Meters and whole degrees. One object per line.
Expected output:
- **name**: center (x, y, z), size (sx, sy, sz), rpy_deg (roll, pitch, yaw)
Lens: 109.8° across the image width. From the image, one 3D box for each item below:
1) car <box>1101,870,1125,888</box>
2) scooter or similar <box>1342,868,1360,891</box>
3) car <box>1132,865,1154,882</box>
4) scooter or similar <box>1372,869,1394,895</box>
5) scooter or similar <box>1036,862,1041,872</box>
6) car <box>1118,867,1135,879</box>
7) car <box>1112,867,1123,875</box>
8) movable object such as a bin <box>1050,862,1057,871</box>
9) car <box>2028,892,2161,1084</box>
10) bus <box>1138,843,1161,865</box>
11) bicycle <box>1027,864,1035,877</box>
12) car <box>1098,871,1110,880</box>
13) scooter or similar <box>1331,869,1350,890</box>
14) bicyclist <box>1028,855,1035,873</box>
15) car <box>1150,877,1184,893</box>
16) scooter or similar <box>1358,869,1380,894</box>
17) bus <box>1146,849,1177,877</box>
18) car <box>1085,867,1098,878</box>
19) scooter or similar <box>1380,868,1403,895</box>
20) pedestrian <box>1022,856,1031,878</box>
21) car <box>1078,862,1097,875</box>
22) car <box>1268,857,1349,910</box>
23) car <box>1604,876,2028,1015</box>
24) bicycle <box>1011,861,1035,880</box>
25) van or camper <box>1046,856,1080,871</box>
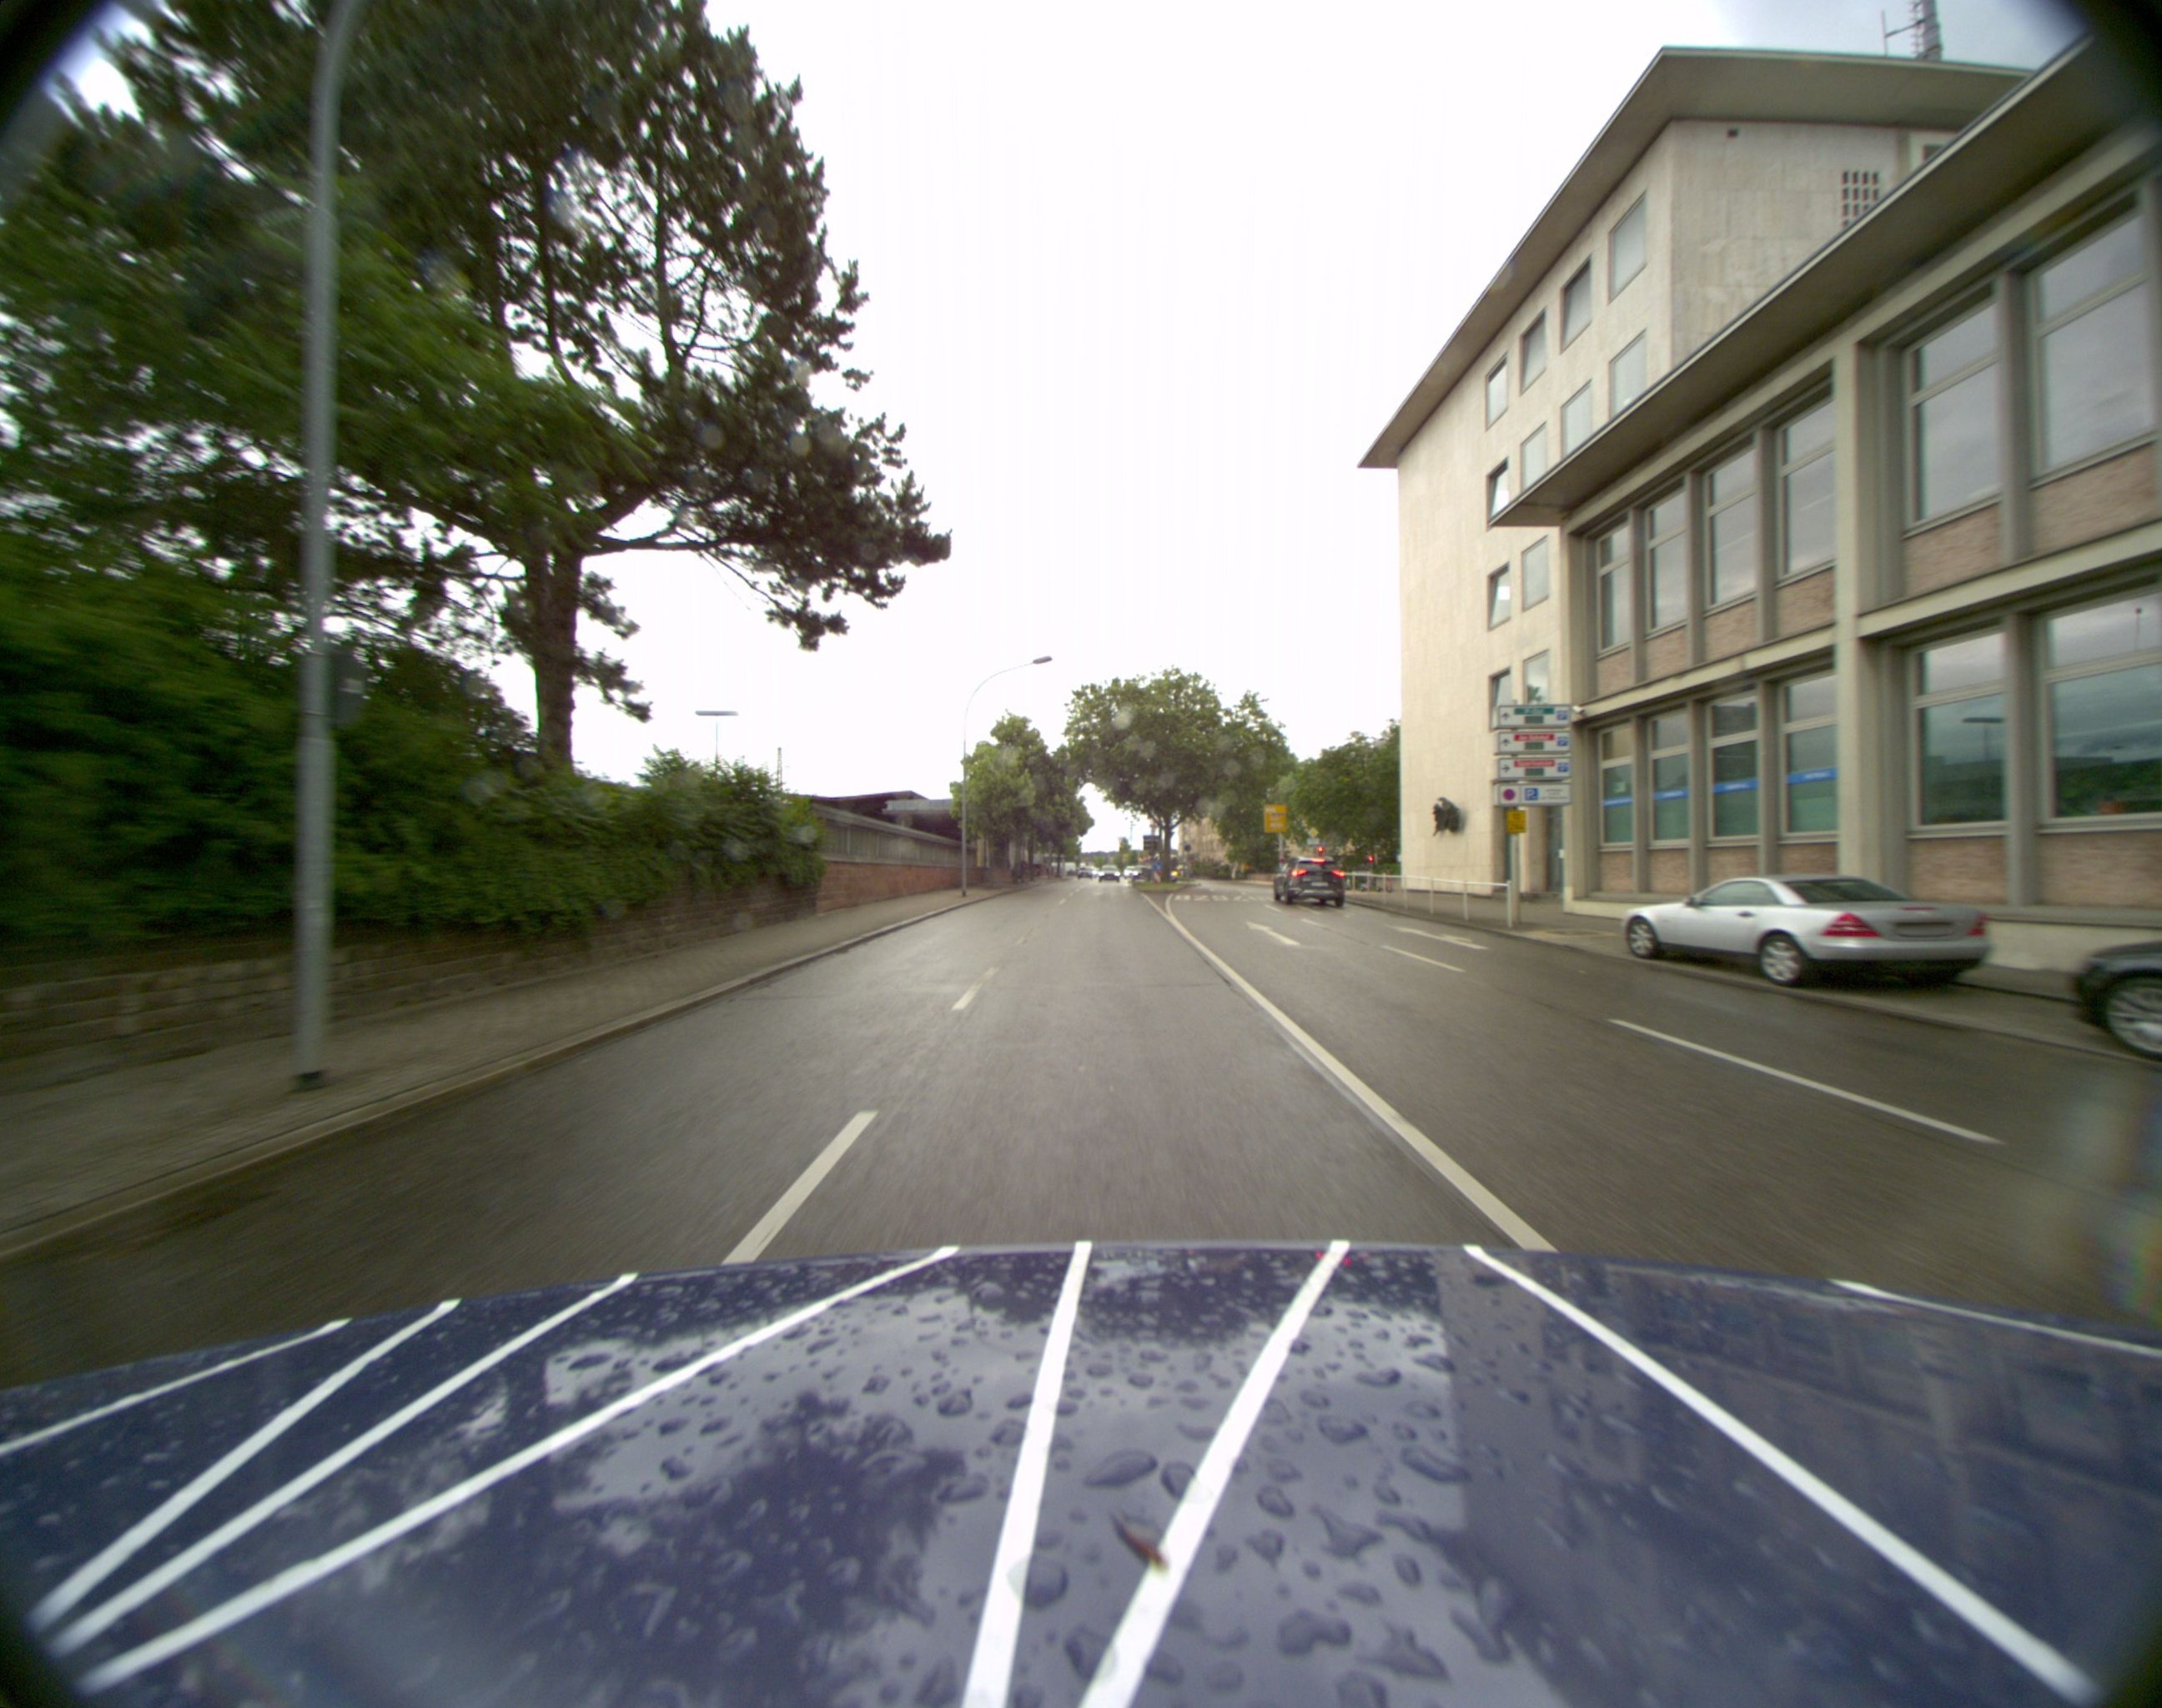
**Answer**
- **car**: center (2.719, 2.060, 64.251), size (1.871, 1.465, 3.828), rpy_deg (0, -1, 4)
- **scooter or similar**: center (14.268, 1.314, 40.197), size (0.571, 1.185, 1.575), rpy_deg (0, -1, 6)
- **car**: center (6.527, 2.031, 80.103), size (1.969, 1.630, 4.359), rpy_deg (0, -1, 1)
- **scooter or similar**: center (13.921, 1.272, 35.019), size (0.607, 1.185, 1.531), rpy_deg (0, -1, 36)
- **scooter or similar**: center (-4.938, 1.541, 88.104), size (0.494, 1.146, 1.545), rpy_deg (0, 0, 0)
- **car**: center (5.789, 2.362, 96.610), size (1.983, 1.438, 3.910), rpy_deg (1, -1, 3)
- **car**: center (6.455, 2.942, 133.719), size (1.983, 1.438, 3.910), rpy_deg (1, -1, 3)
- **movable object such as a bin**: center (-3.980, 1.795, 110.078), size (1.036, 1.330, 1.317), rpy_deg (0, -1, 0)
- **car**: center (8.579, 0.992, 4.254), size (1.546, 1.345, 4.111), rpy_deg (-1, 0, 3)
- **bus**: center (10.011, 0.005, 111.357), size (2.759, 3.114, 8.843), rpy_deg (-1, 0, 1)
- **bicycle**: center (-4.124, 1.357, 62.687), size (0.447, 1.010, 1.678), rpy_deg (3, -1, 0)
- **car**: center (4.334, 3.937, 141.505), size (1.983, 1.438, 3.909), rpy_deg (-2, 1, 3)
- **scooter or similar**: center (14.311, 1.401, 41.877), size (0.489, 1.160, 1.502), rpy_deg (0, -1, -2)
- **bicyclist**: center (-4.097, 0.819, 62.776), size (0.535, 1.529, 0.694), rpy_deg (2, 0, 0)
- **car**: center (8.009, 2.864, 71.170), size (1.822, 1.401, 4.409), rpy_deg (1, -1, -14)
- **scooter or similar**: center (13.770, 1.294, 36.343), size (0.607, 1.185, 1.531), rpy_deg (0, -1, 36)
- **bus**: center (10.372, 1.244, 99.239), size (2.962, 3.418, 12.562), rpy_deg (0, -1, 1)
- **car**: center (1.437, 2.545, 104.016), size (1.619, 1.477, 3.670), rpy_deg (0, -1, 1)
- **scooter or similar**: center (13.791, 1.187, 33.700), size (0.607, 1.157, 1.531), rpy_deg (0, -1, 36)
- **pedestrian**: center (-3.806, 0.922, 53.304), size (0.456, 1.559, 0.394), rpy_deg (1, 0, 37)
- **car**: center (0.742, 1.701, 87.046), size (1.871, 1.465, 3.828), rpy_deg (0, -1, 4)
- **car**: center (7.754, 0.949, 26.286), size (1.825, 1.650, 4.339), rpy_deg (0, 0, 5)
- **car**: center (9.013, 1.006, 9.913), size (1.695, 1.290, 4.093), rpy_deg (-1, 0, 3)
- **bicycle**: center (-4.064, 1.137, 52.981), size (1.720, 1.241, 0.487), rpy_deg (2, 0, 34)
- **van or camper**: center (-3.596, 1.850, 151.217), size (6.541, 2.852, 2.275), rpy_deg (1, -1, -28)
